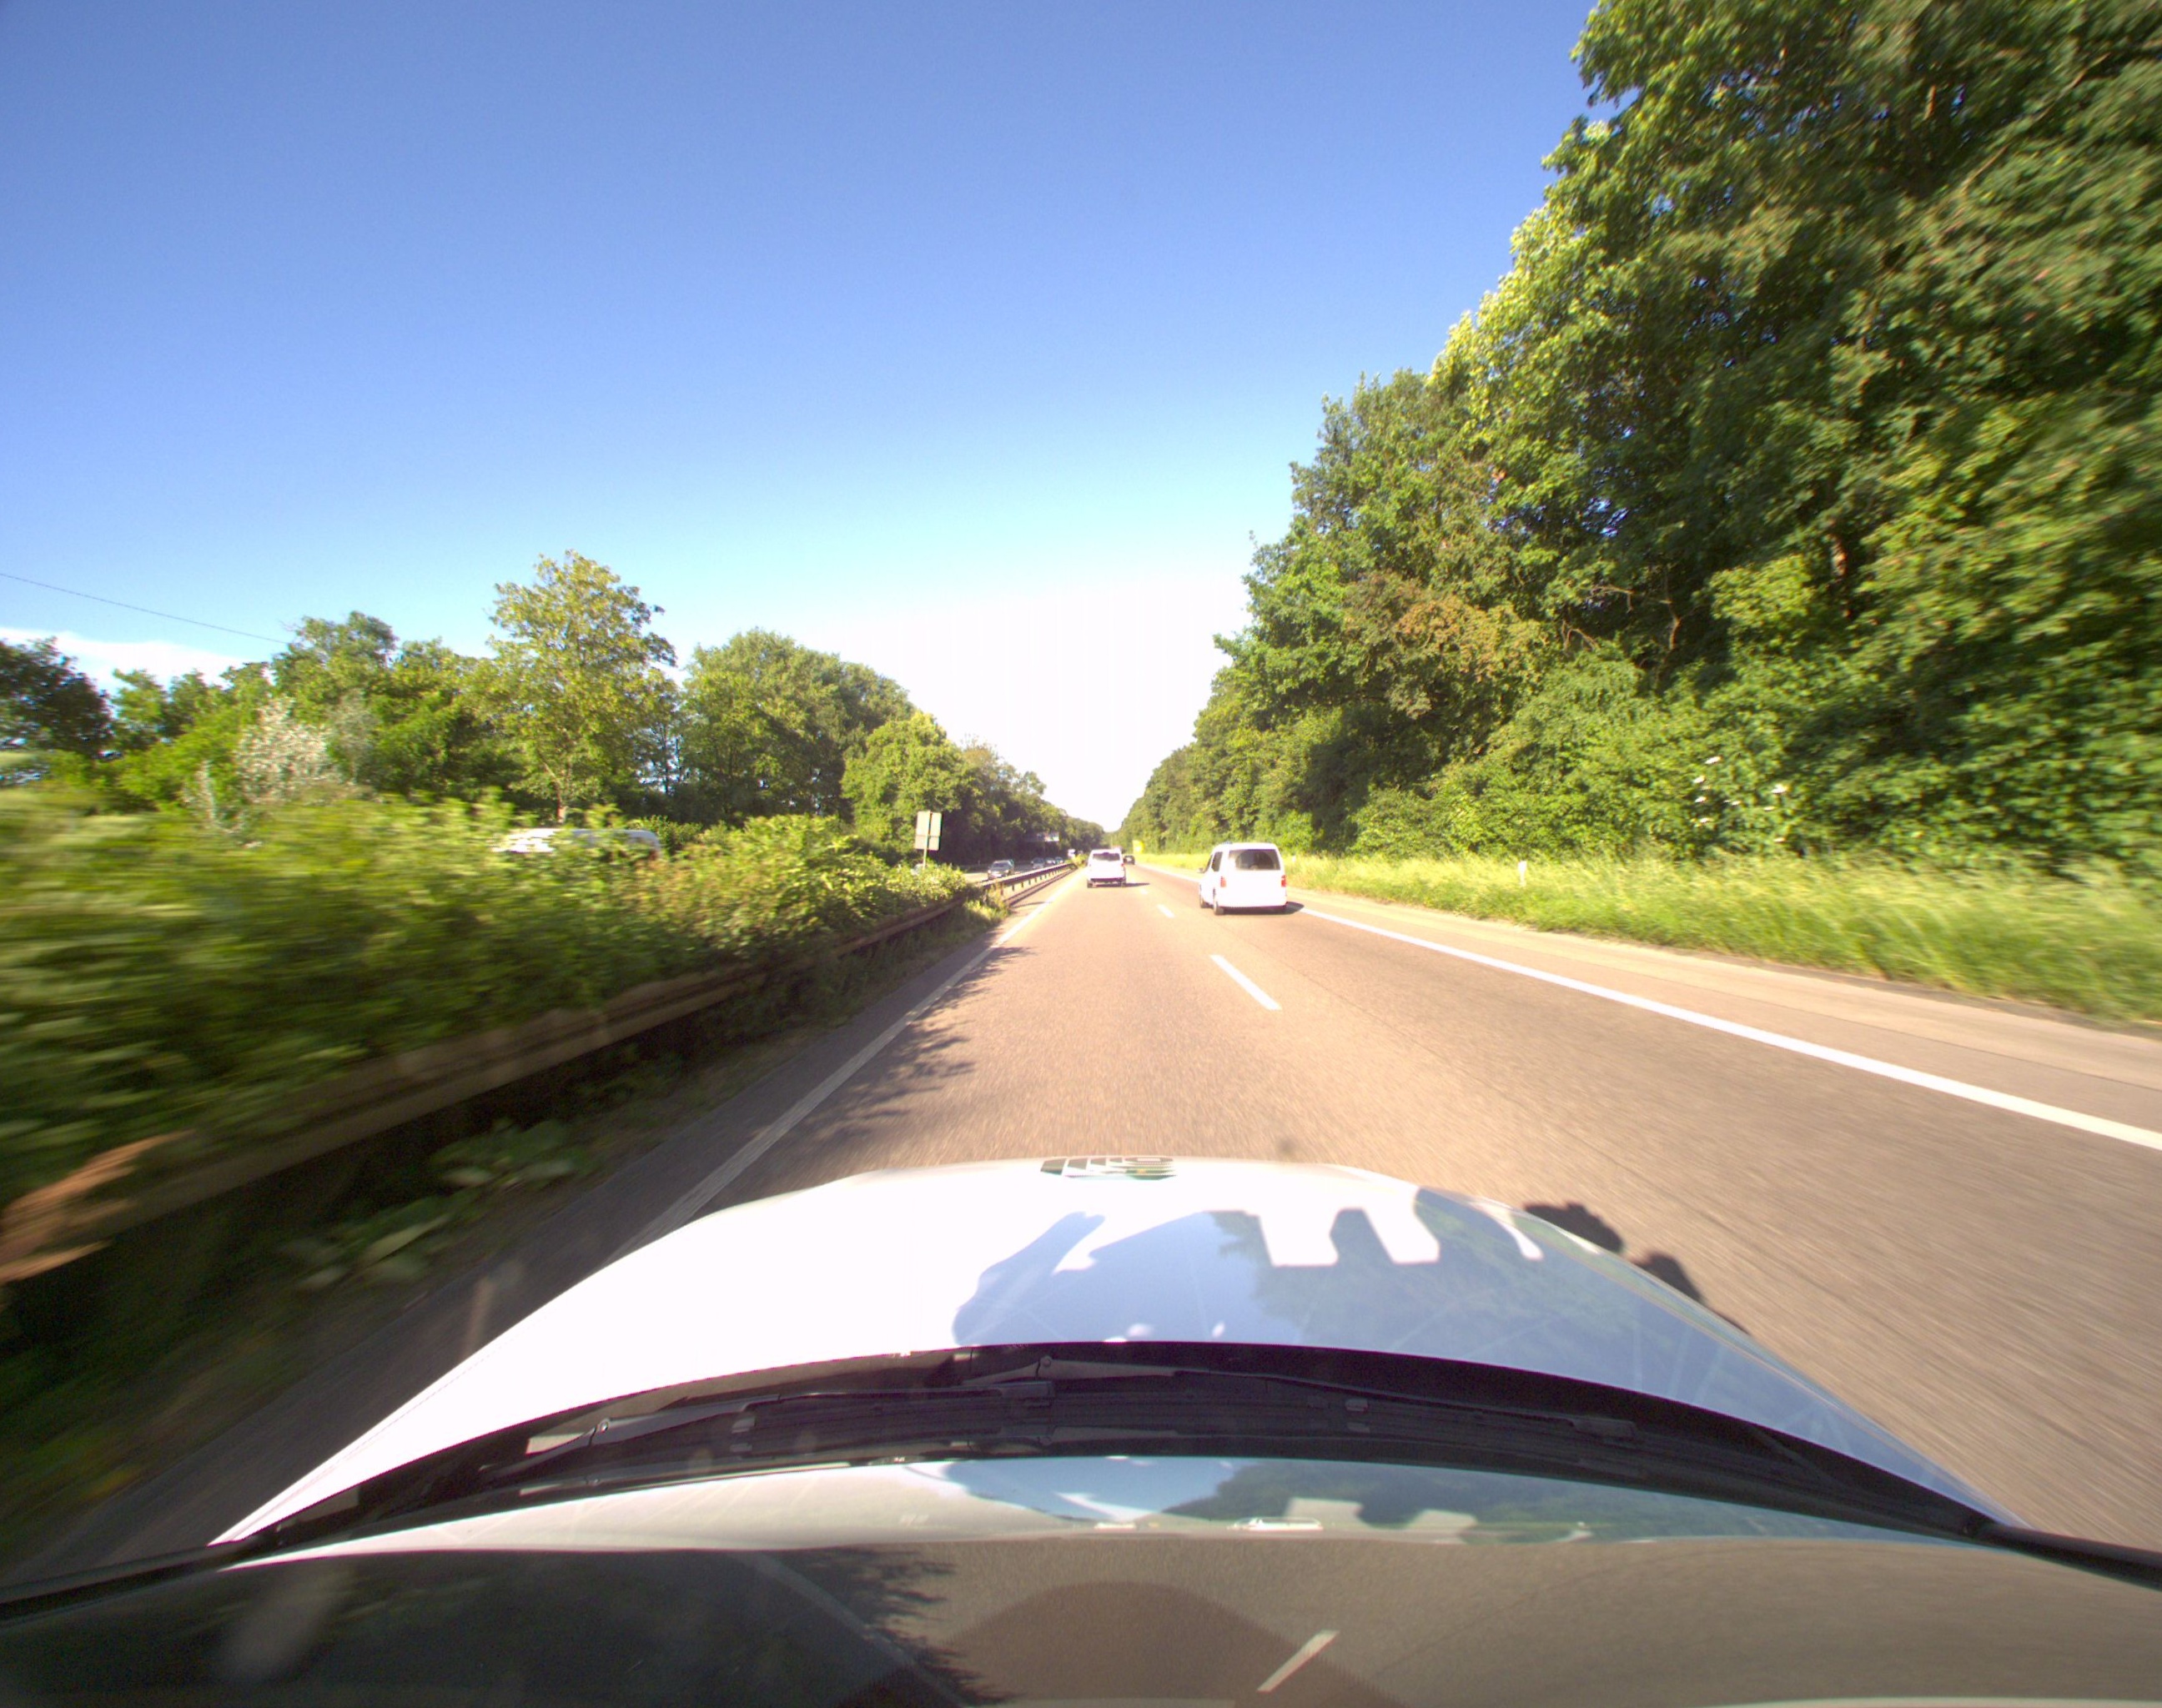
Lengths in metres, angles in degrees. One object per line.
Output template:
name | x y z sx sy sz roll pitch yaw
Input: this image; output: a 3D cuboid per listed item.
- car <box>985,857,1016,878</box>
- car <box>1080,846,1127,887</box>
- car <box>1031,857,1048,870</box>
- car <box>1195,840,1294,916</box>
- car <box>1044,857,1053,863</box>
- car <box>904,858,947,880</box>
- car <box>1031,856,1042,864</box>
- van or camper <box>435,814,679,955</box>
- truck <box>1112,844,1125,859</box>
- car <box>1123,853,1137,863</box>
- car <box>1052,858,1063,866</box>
car | -6.345 1.034 64.745 1.953 1.540 4.466 -1 0 1
car | 1.021 0.587 39.288 2.079 1.828 3.999 -1 0 -1
car | -5.298 1.160 104.739 1.870 1.540 4.465 -2 0 1
car | 4.203 0.569 21.614 1.856 1.770 4.472 -1 0 2
car | -7.273 1.293 181.165 1.712 1.357 4.229 -2 0 1
car | -10.525 0.994 55.451 1.953 1.450 4.327 0 0 1
car | -8.247 1.080 151.805 1.712 1.445 4.229 -2 0 1
van or camper | -11.643 0.592 18.705 1.986 2.722 5.256 -2 0 2
truck | 10.991 -0.760 238.397 3.483 4.172 8.864 -2 0 1
car | 7.352 0.556 123.374 1.986 1.398 4.001 -1 0 1
car | -4.501 1.523 154.024 1.829 1.357 4.475 -1 0 1
